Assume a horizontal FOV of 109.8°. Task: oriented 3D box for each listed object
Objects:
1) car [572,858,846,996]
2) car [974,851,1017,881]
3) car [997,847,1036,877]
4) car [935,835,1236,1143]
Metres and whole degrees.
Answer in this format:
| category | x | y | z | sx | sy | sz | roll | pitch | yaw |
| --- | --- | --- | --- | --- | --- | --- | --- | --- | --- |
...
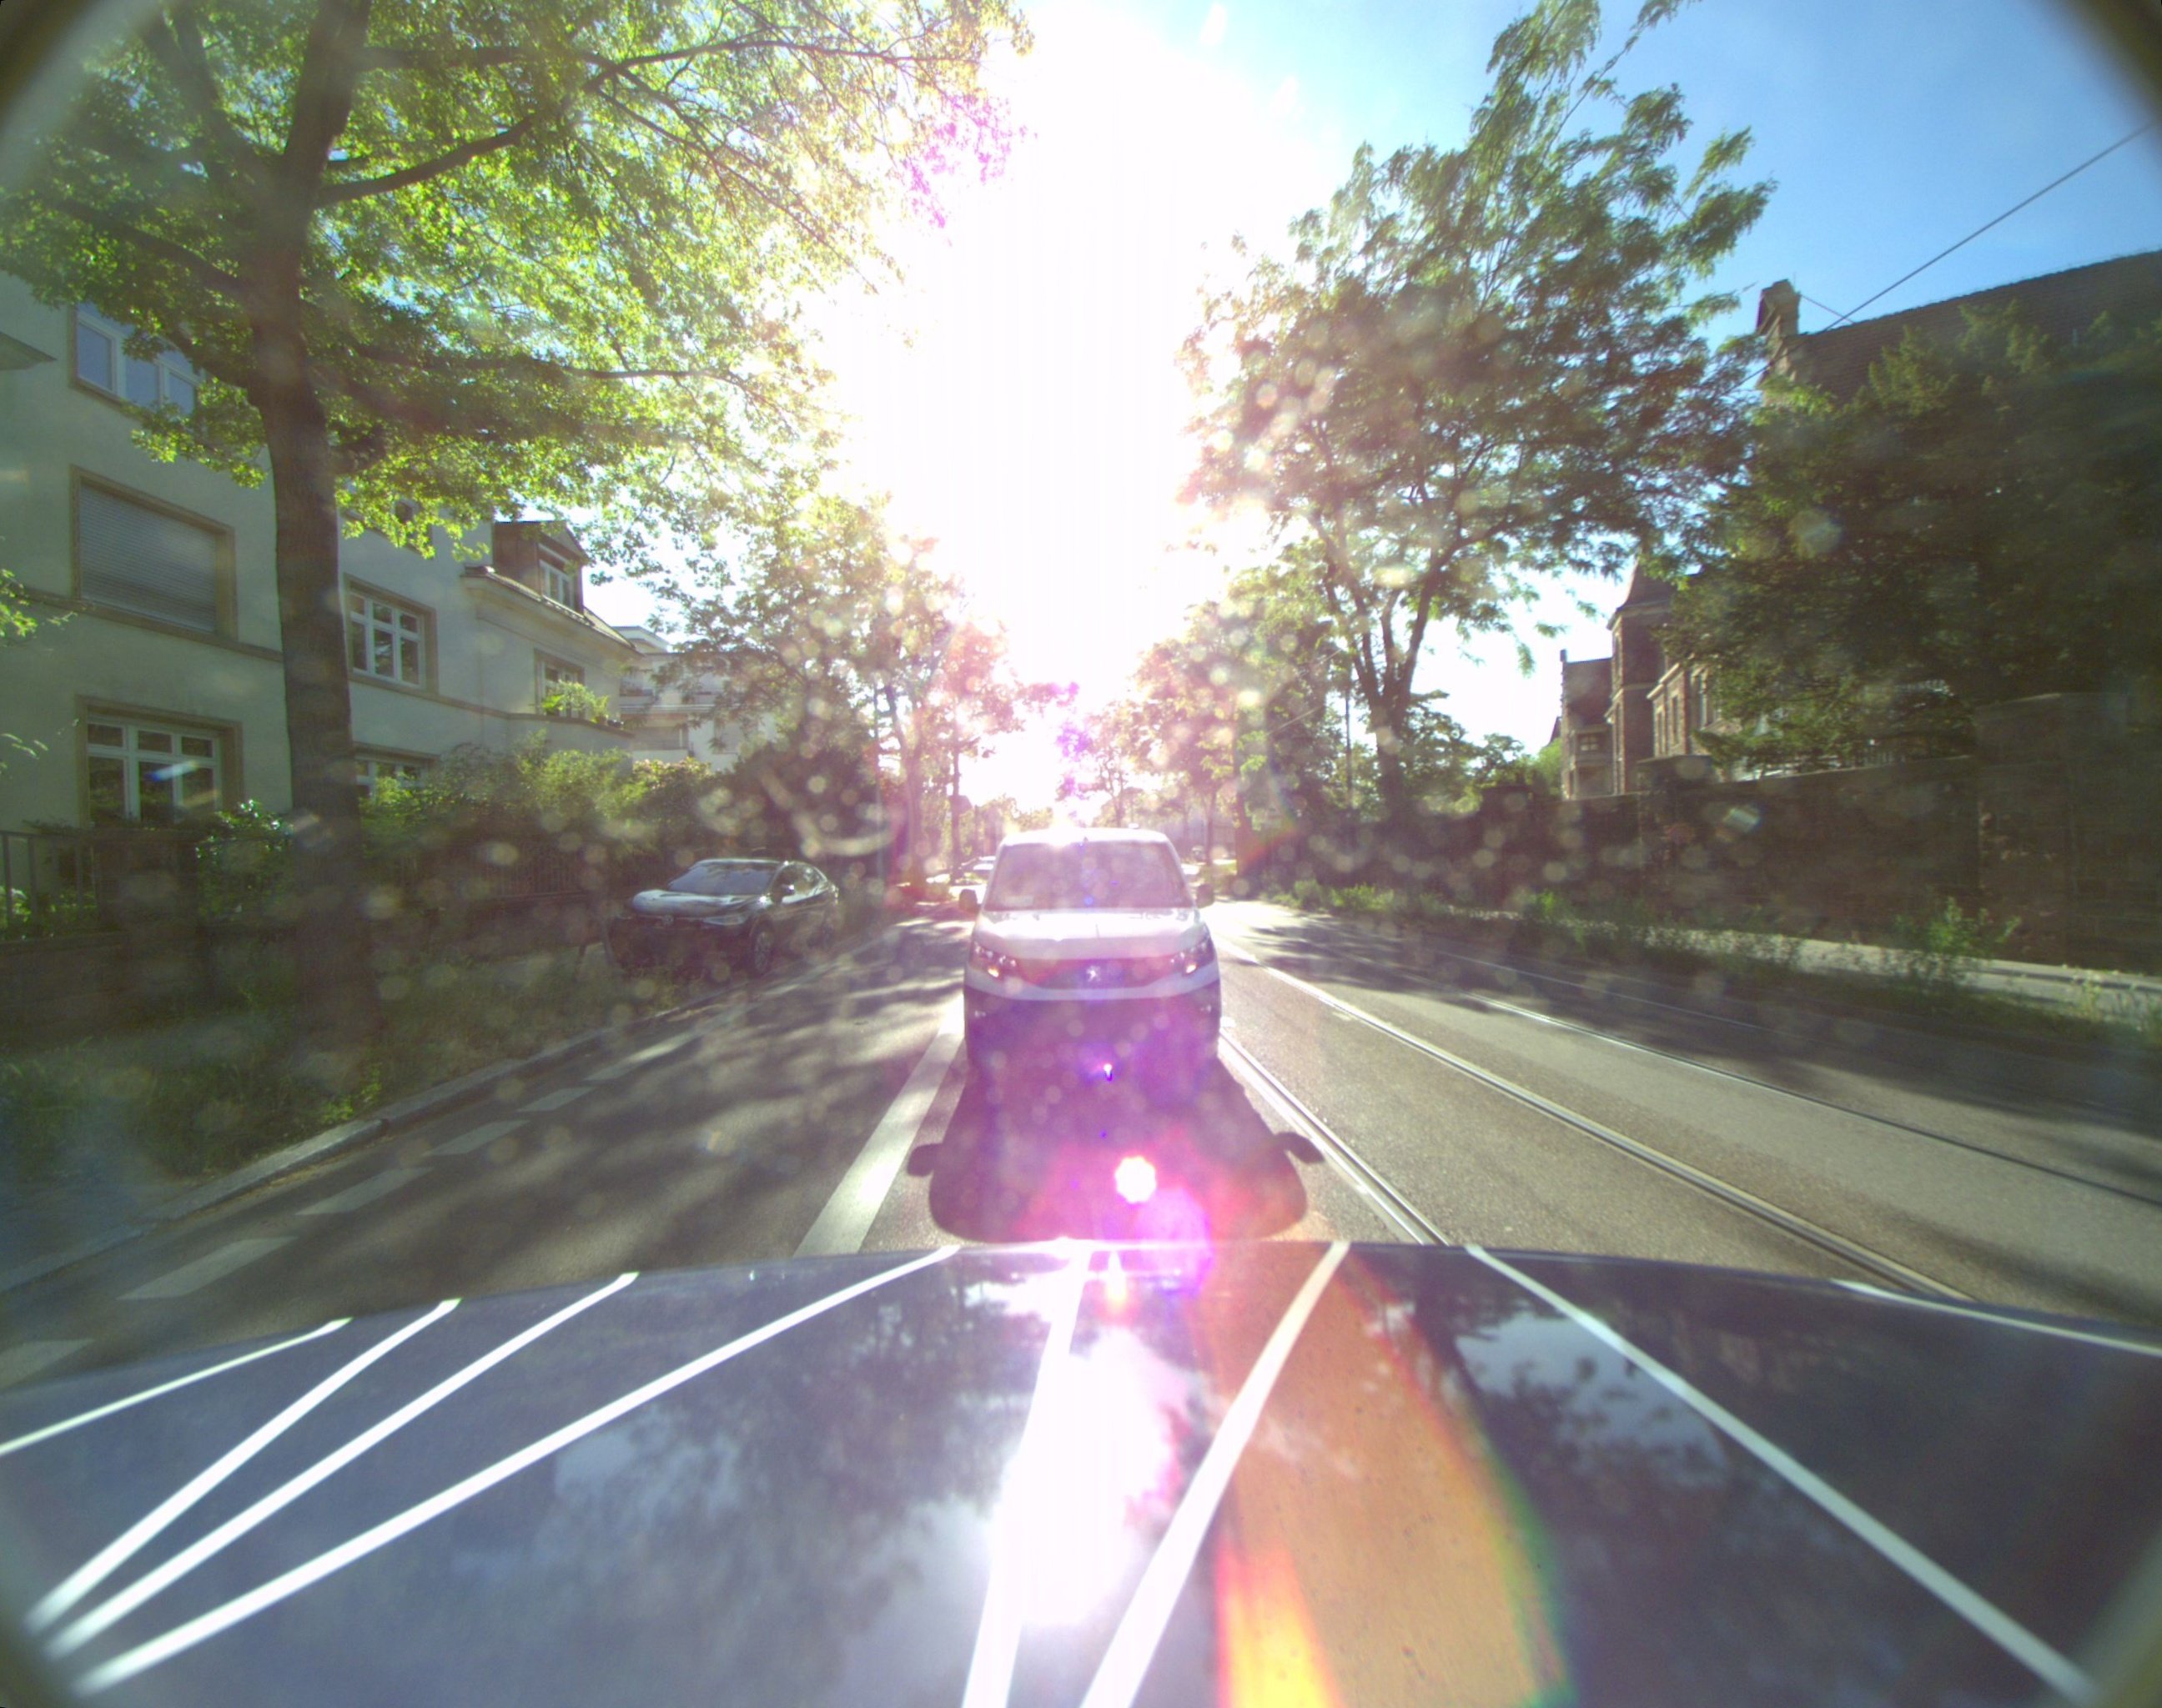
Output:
| category | x | y | z | sx | sy | sz | roll | pitch | yaw |
| --- | --- | --- | --- | --- | --- | --- | --- | --- | --- |
| car | -5.248 | 0.932 | 11.538 | 1.999 | 1.665 | 4.380 | 1 | -1 | 0 |
| car | -5.042 | 0.658 | 45.212 | 1.823 | 1.630 | 4.001 | -2 | 0 | 4 |
| car | -4.357 | 0.500 | 51.772 | 2.129 | 1.884 | 4.746 | -2 | 0 | 1 |
| car | 0.020 | 0.795 | 6.521 | 1.768 | 1.812 | 3.999 | -1 | 0 | 0 |
